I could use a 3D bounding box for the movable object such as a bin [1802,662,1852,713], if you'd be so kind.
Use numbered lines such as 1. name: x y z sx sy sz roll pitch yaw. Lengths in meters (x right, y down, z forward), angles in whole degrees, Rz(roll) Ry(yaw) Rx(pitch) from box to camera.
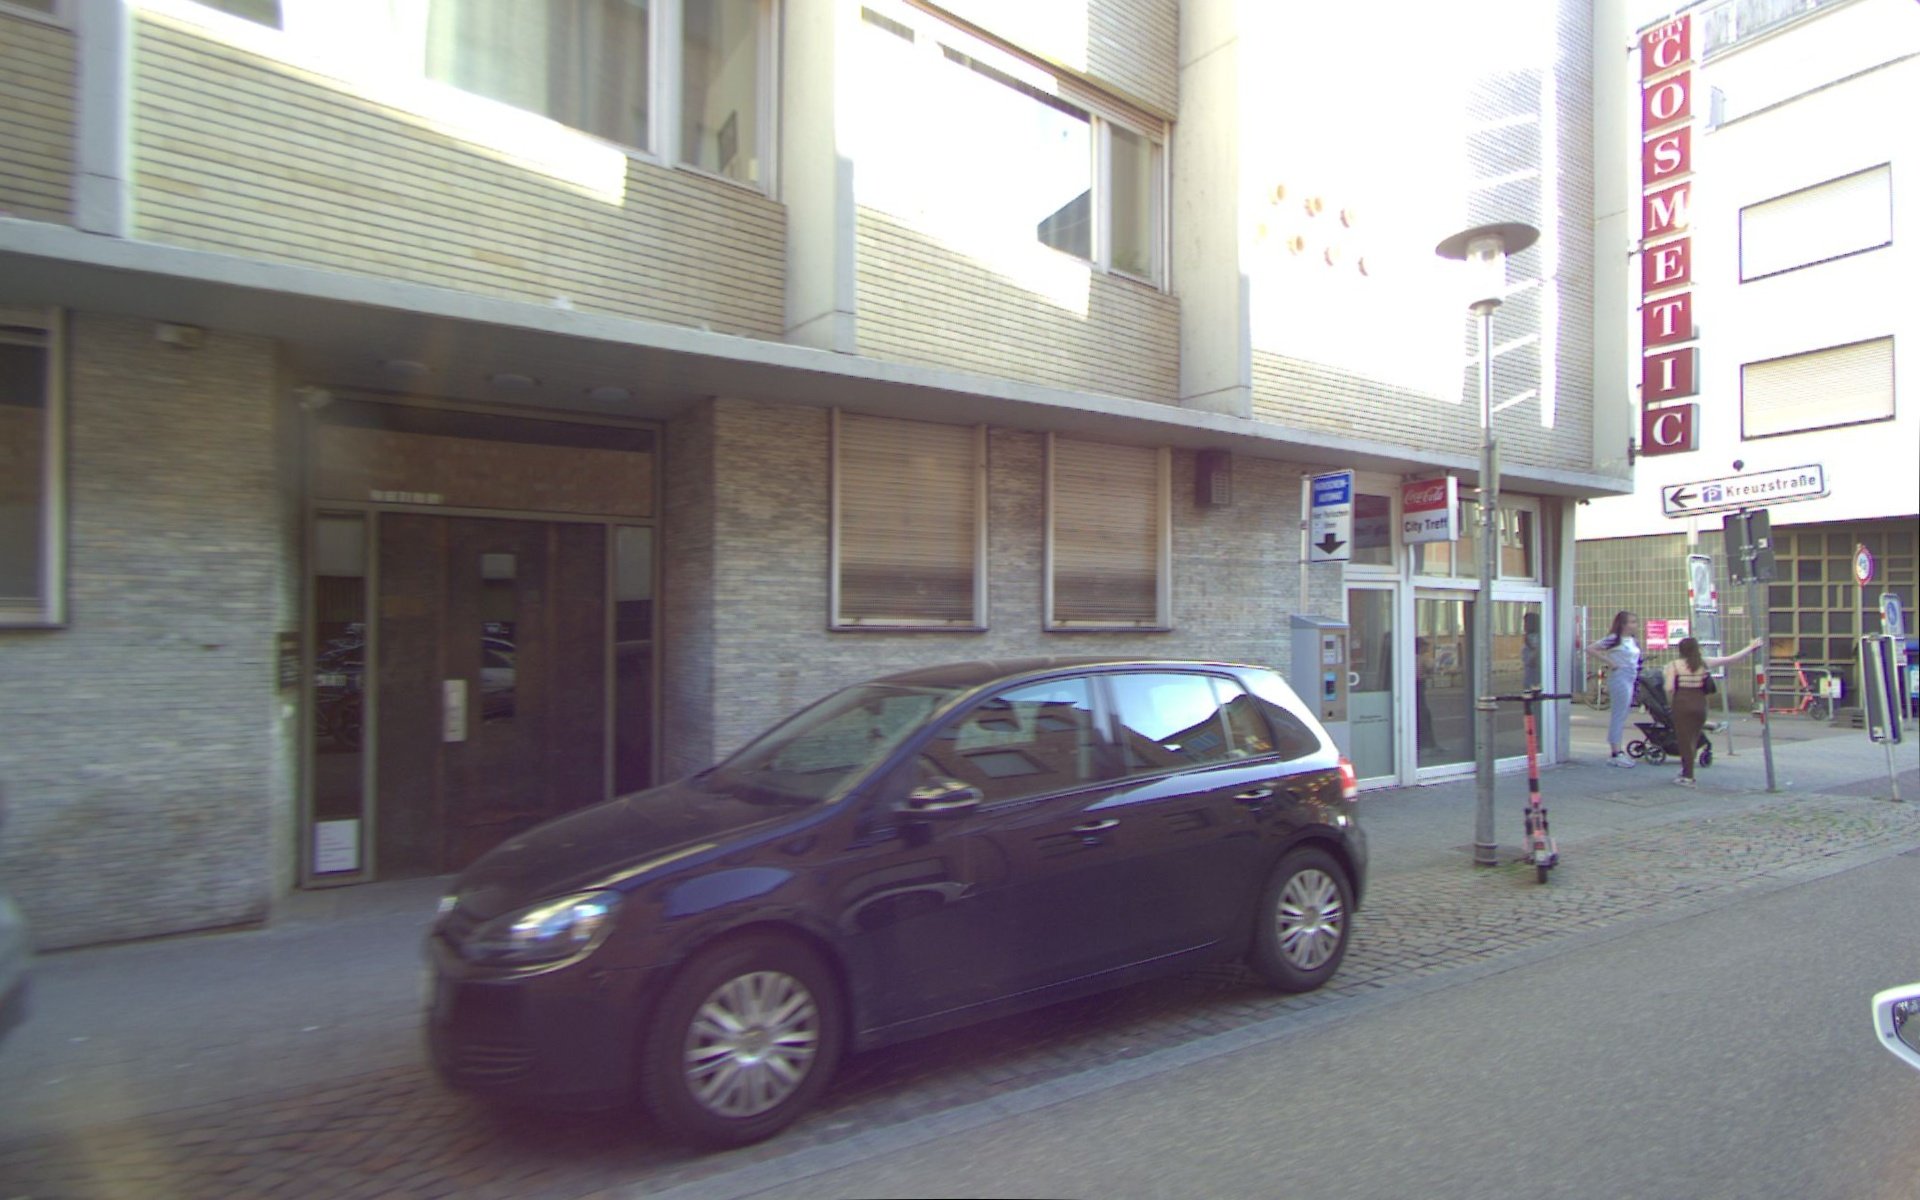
1. movable object such as a bin: 16.780 1.685 19.454 0.526 0.914 0.526 2 0 13

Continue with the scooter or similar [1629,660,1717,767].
1. scooter or similar: 8.555 1.335 12.078 0.778 1.177 0.634 2 0 30

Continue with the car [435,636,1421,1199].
1. car: 0.003 0.925 4.345 3.953 1.479 1.641 1 -4 -31

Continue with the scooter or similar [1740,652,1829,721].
1. scooter or similar: 15.210 1.583 18.550 0.474 1.222 1.152 1 -3 -30

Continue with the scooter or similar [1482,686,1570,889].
1. scooter or similar: 3.891 1.232 6.903 0.406 1.213 1.119 -5 -4 30

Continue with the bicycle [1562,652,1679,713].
1. bicycle: 13.409 1.646 20.465 0.709 1.173 1.864 1 -3 -28

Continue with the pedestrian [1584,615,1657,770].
1. pedestrian: 7.670 1.054 11.680 0.542 1.761 0.448 0 -1 -8

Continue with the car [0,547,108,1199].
1. car: -4.370 0.735 1.584 4.342 1.765 1.880 1 -2 -32

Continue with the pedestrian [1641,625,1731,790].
1. pedestrian: 7.539 1.091 10.450 0.634 1.647 0.457 0 2 18

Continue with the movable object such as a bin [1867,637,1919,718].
1. movable object such as a bin: 17.805 1.445 18.784 0.915 1.438 0.885 2 0 13

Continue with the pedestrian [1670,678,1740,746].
1. pedestrian: 8.805 1.312 11.891 0.574 0.724 0.646 0 -1 29
